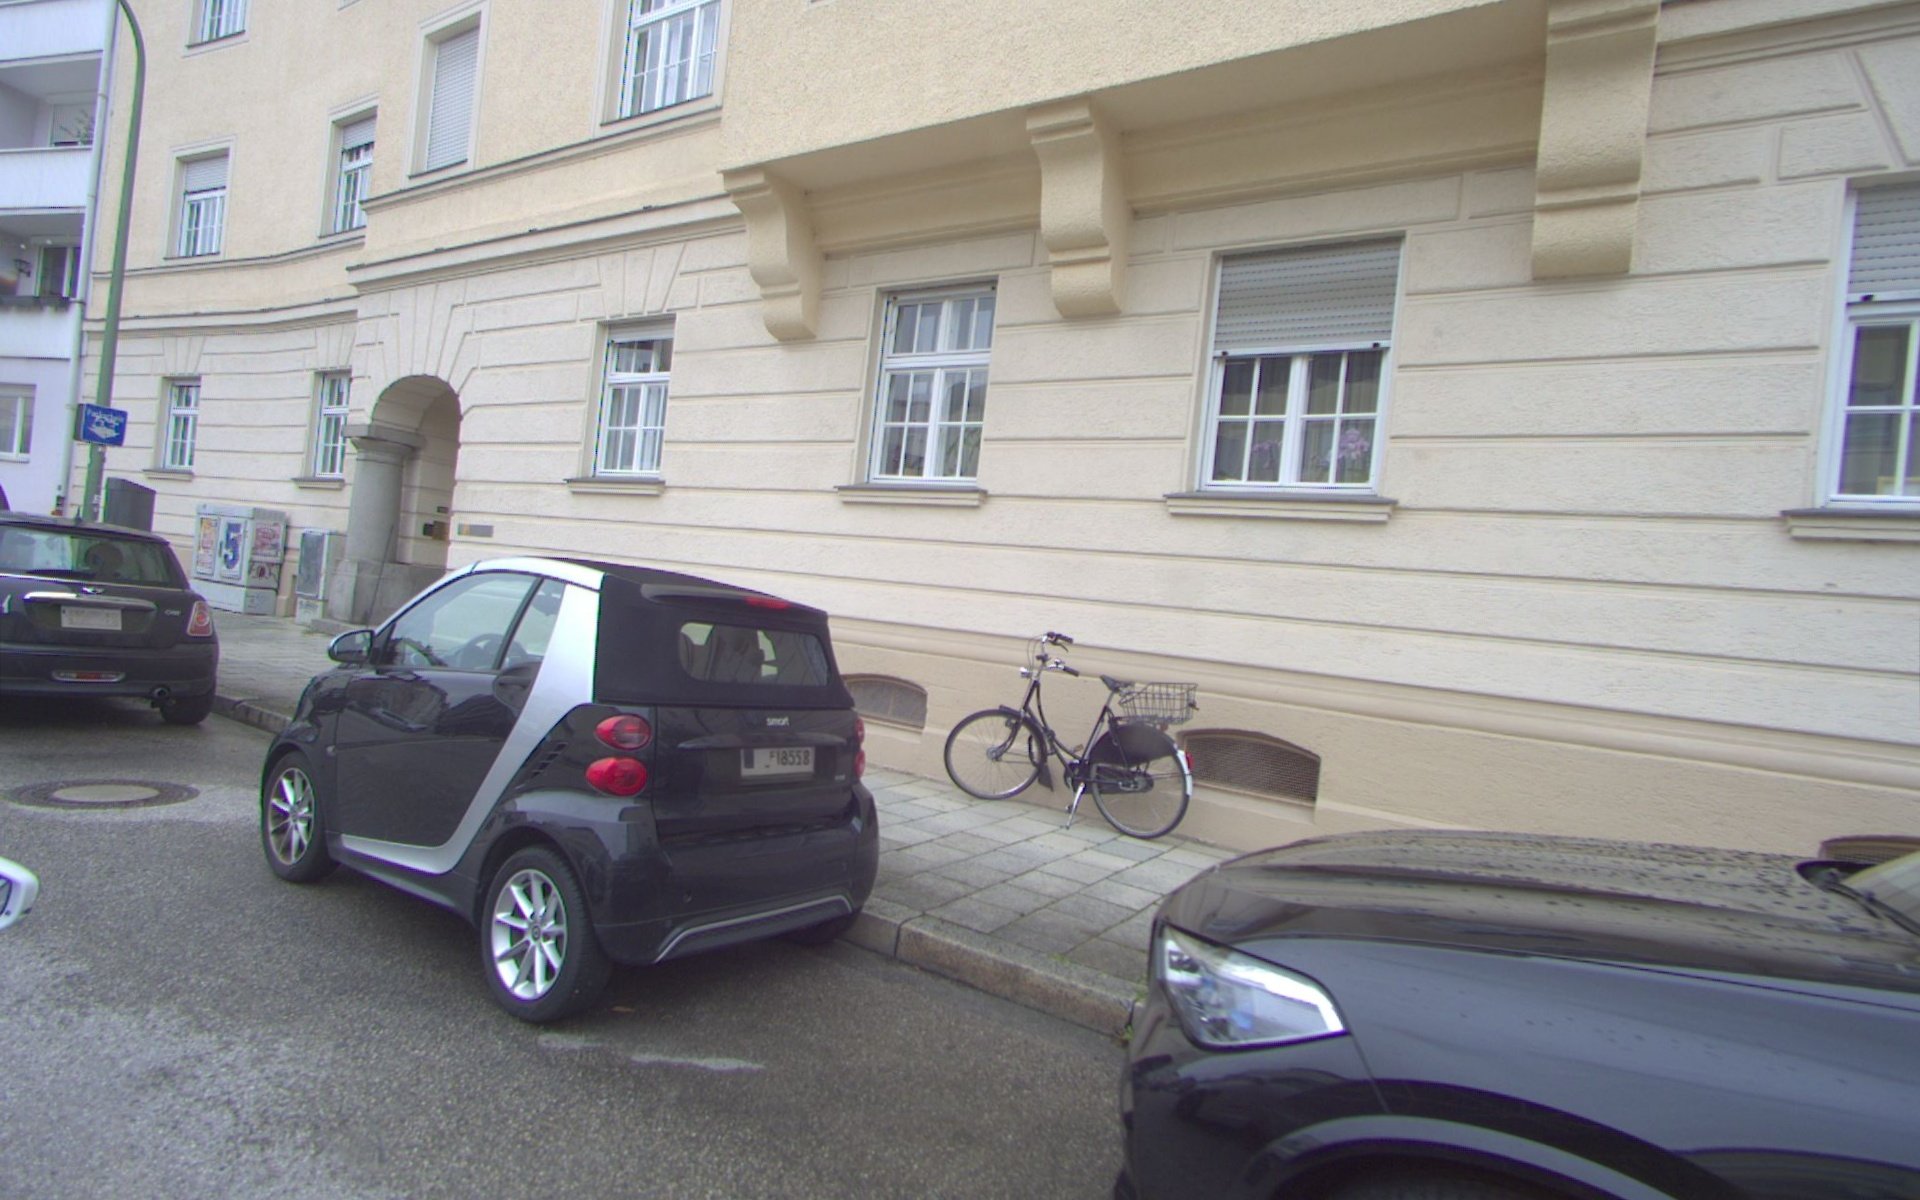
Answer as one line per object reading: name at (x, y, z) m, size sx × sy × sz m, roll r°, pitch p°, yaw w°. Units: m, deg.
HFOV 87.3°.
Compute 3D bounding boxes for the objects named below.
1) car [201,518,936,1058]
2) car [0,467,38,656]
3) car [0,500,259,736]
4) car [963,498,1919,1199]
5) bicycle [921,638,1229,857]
car at (-1.866, 0.578, 4.576) m, size 3.061 × 1.541 × 1.536 m, roll 6°, pitch -2°, yaw 35°
car at (-11.528, -0.643, 10.069) m, size 4.199 × 1.828 × 1.783 m, roll 6°, pitch -2°, yaw 25°
car at (-7.255, 0.012, 7.751) m, size 3.769 × 1.464 × 1.710 m, roll 6°, pitch -2°, yaw 35°
car at (2.540, 0.966, 1.354) m, size 4.787 × 1.737 × 1.871 m, roll 6°, pitch -2°, yaw 34°
bicycle at (0.729, 0.912, 6.775) m, size 1.921 × 1.097 × 0.579 m, roll 7°, pitch 3°, yaw 33°
